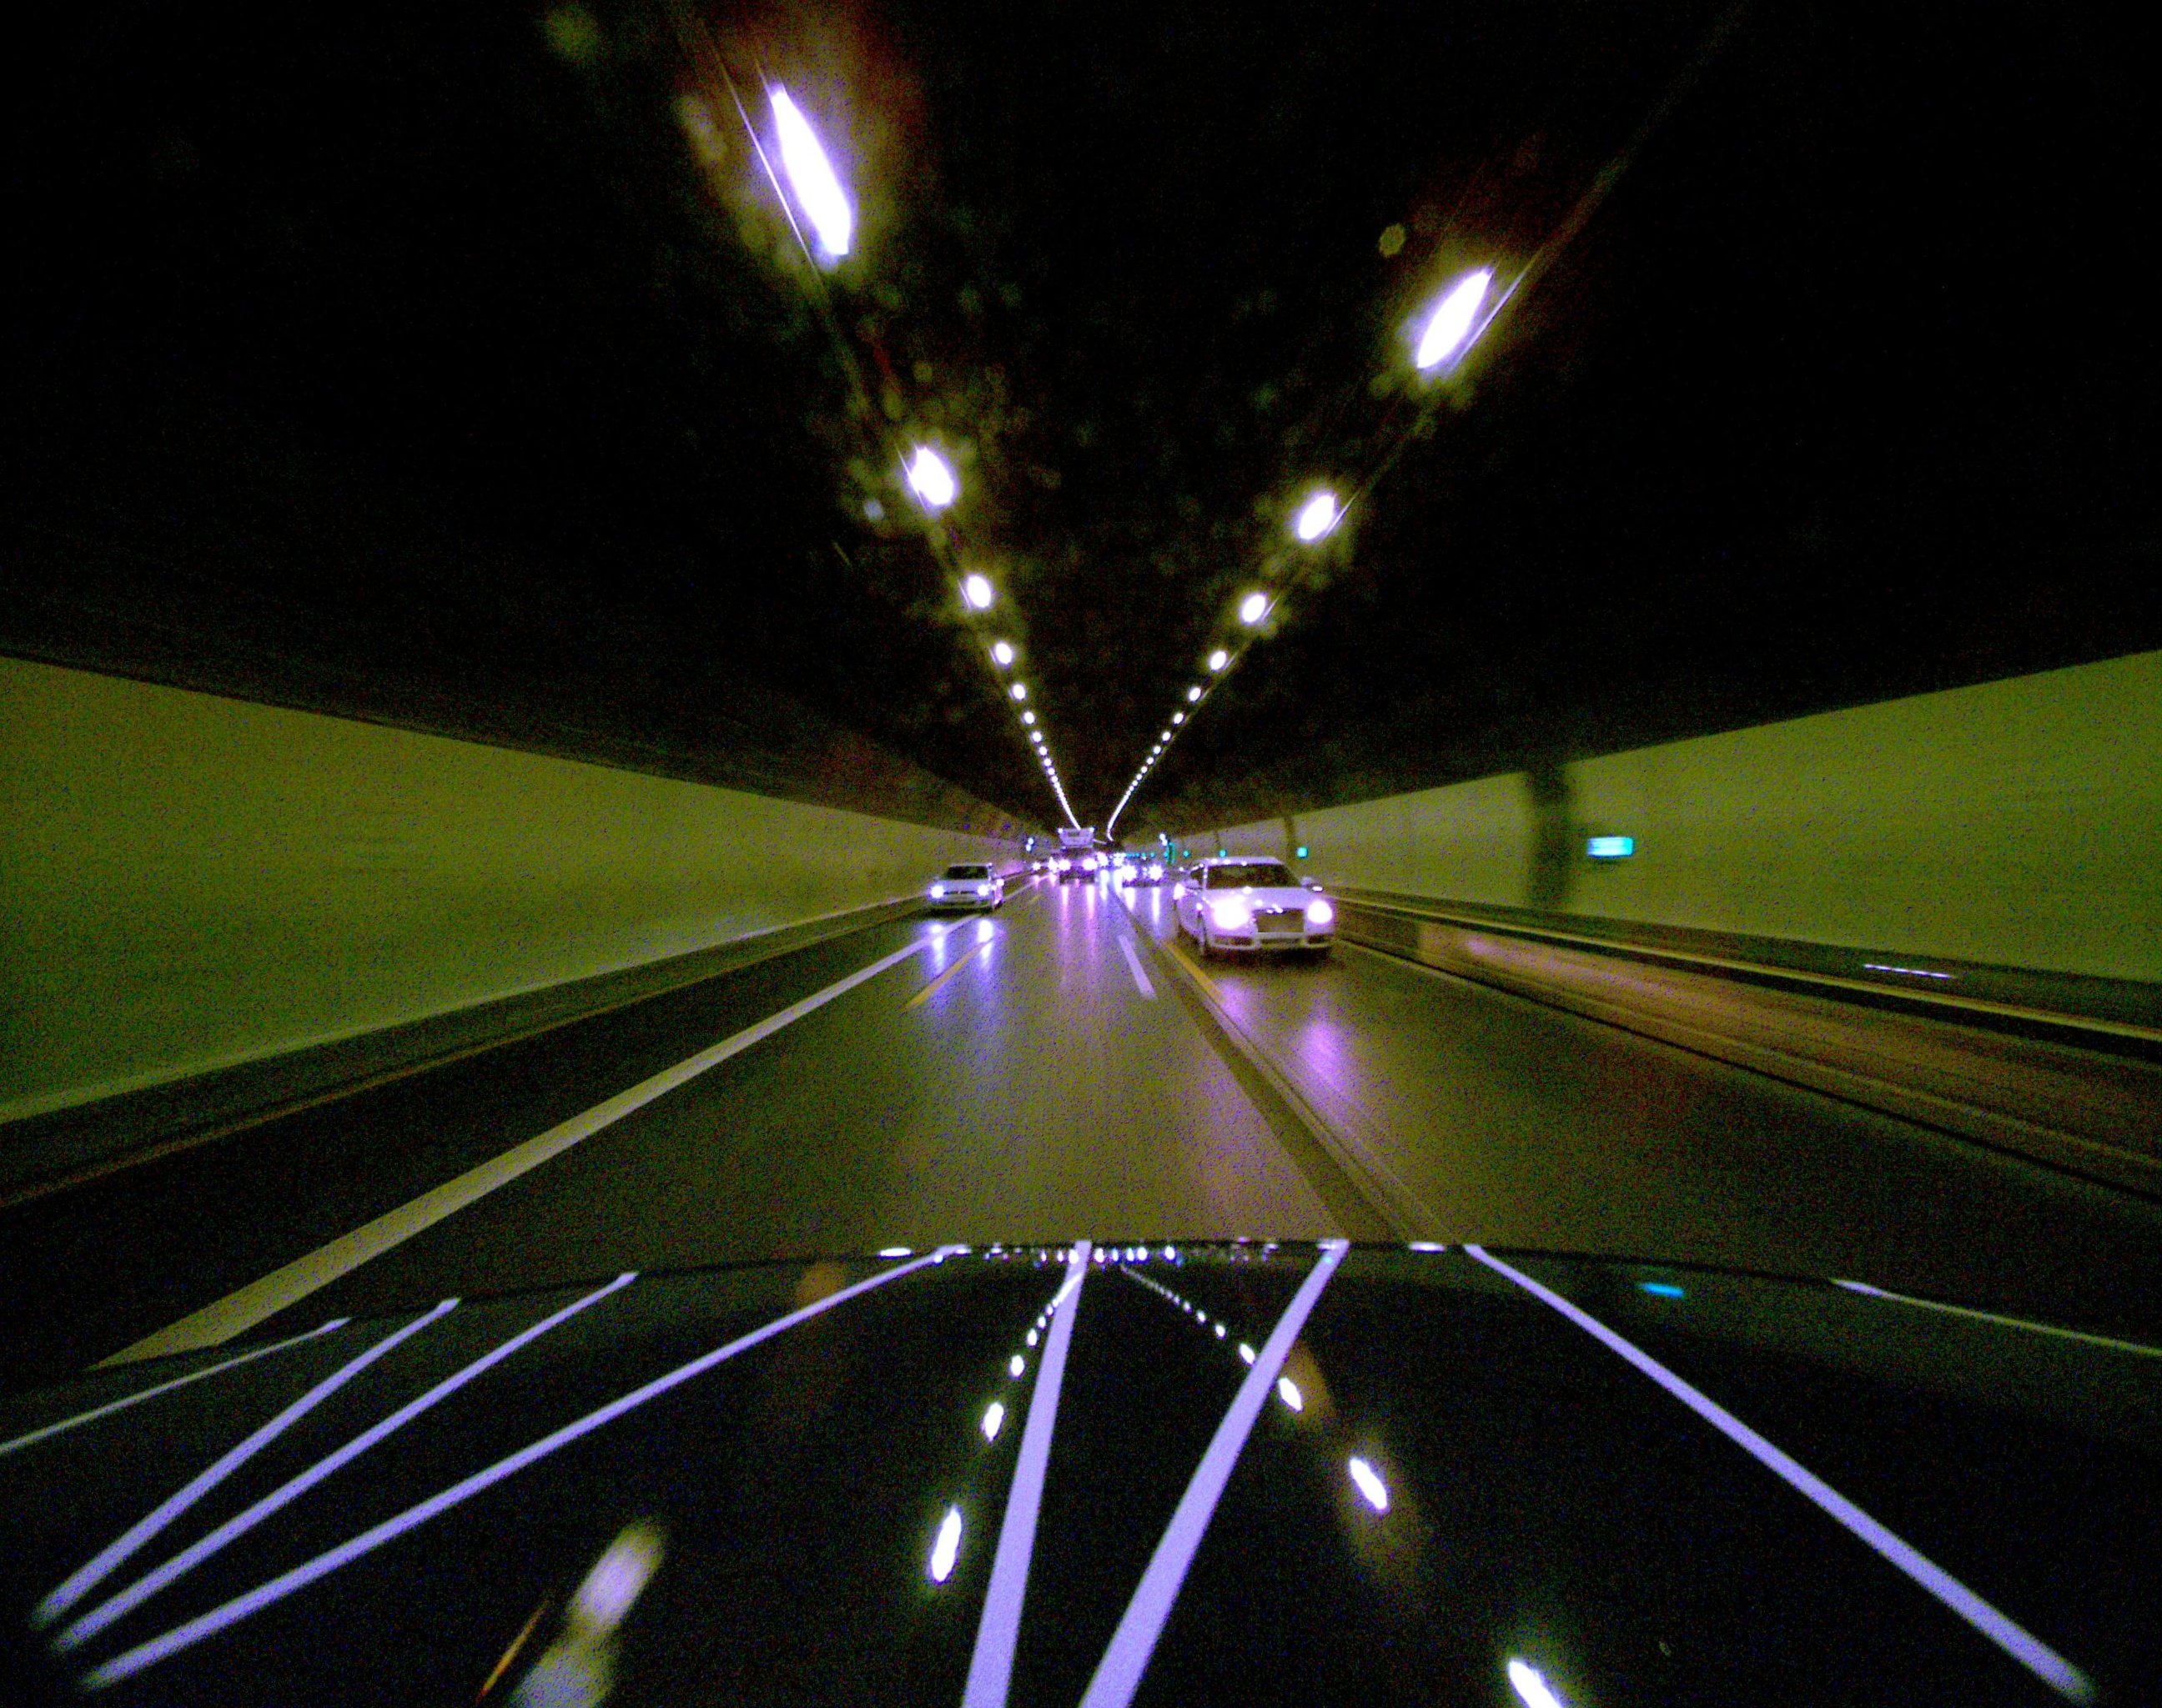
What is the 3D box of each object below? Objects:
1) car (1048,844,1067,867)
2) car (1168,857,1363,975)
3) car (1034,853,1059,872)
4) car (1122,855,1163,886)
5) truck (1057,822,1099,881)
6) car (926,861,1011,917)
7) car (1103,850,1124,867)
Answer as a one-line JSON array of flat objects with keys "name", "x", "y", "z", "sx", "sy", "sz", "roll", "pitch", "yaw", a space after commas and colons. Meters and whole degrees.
[{"name": "car", "x": -2.960, "y": 0.157, "z": 97.264, "sx": 2.124, "sy": 2.629, "sz": 6.229, "roll": -3, "pitch": 1, "yaw": 0}, {"name": "car", "x": 2.649, "y": 0.809, "z": 12.222, "sx": 1.908, "sy": 1.476, "sz": 4.943, "roll": -1, "pitch": 0, "yaw": 0}, {"name": "car", "x": -3.096, "y": 0.734, "z": 68.630, "sx": 1.958, "sy": 1.528, "sz": 4.757, "roll": -3, "pitch": 1, "yaw": 0}, {"name": "car", "x": 2.925, "y": 0.760, "z": 36.810, "sx": 1.657, "sy": 1.395, "sz": 3.656, "roll": -1, "pitch": 1, "yaw": 0}, {"name": "truck", "x": -0.150, "y": -0.174, "z": 46.393, "sx": 2.262, "sy": 3.238, "sz": 7.382, "roll": -2, "pitch": 1, "yaw": 0}, {"name": "car", "x": -3.299, "y": 0.988, "z": 22.999, "sx": 1.801, "sy": 1.452, "sz": 4.035, "roll": -2, "pitch": 0, "yaw": 2}, {"name": "car", "x": 3.482, "y": 0.474, "z": 82.207, "sx": 1.958, "sy": 1.528, "sz": 4.757, "roll": -5, "pitch": 1, "yaw": 0}]
